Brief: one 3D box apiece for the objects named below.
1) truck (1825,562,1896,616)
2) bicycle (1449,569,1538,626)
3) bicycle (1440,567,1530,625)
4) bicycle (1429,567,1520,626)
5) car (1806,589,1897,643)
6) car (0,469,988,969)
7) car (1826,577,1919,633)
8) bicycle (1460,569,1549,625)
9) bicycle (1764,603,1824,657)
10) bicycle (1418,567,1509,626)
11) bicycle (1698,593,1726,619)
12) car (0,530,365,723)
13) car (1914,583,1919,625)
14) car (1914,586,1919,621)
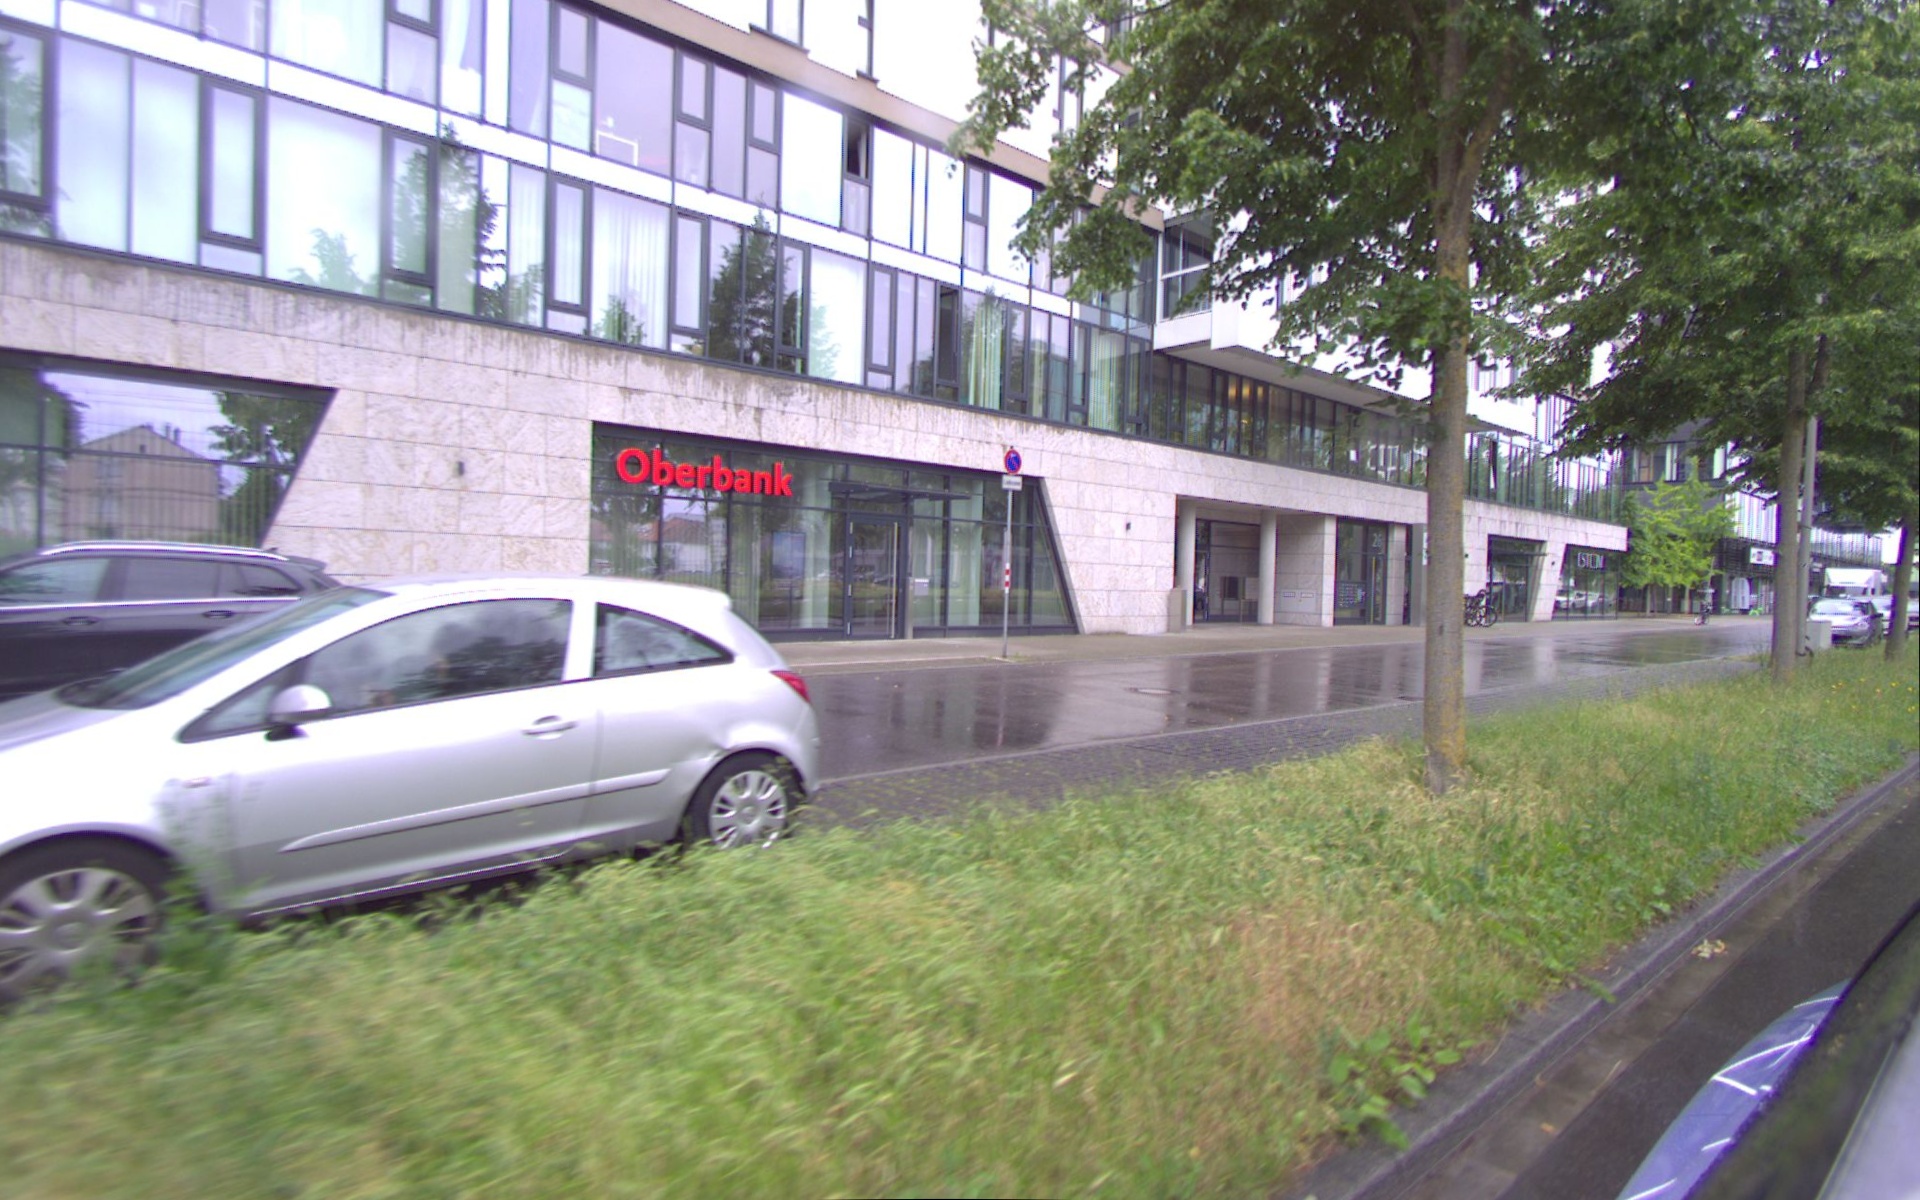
[{"bbox_3d":[62.485,-0.747,70.152,8.406,3.484,3.027,0,1,-44],"label":"truck"},{"bbox_3d":[18.479,-0.117,35.135,0.694,1.884,2.689,1,1,-35],"label":"bicycle"},{"bbox_3d":[17.914,-0.163,34.609,0.694,1.884,2.689,1,1,-35],"label":"bicycle"},{"bbox_3d":[17.305,-0.154,34.124,0.694,1.884,2.689,1,1,-35],"label":"bicycle"},{"bbox_3d":[27.033,0.495,30.657,3.592,1.509,1.628,2,0,-42],"label":"car"},{"bbox_3d":[-2.196,0.409,5.042,4.642,1.525,1.884,3,-1,-43],"label":"car"},{"bbox_3d":[31.395,0.200,34.631,4.640,1.690,1.997,3,-1,-41],"label":"car"},{"bbox_3d":[19.087,-0.137,35.579,0.694,1.884,2.689,1,1,-35],"label":"bicycle"},{"bbox_3d":[13.866,0.511,16.814,1.867,0.833,0.343,3,-1,-38],"label":"bicycle"},{"bbox_3d":[16.717,-0.149,33.686,0.694,1.884,2.689,1,1,-35],"label":"bicycle"},{"bbox_3d":[34.617,0.262,46.571,2.027,1.144,0.519,0,1,-39],"label":"bicycle"},{"bbox_3d":[-8.290,0.165,8.926,4.945,1.519,1.998,2,3,-41],"label":"car"},{"bbox_3d":[48.876,0.295,49.960,4.939,1.977,1.998,3,-1,-40],"label":"car"},{"bbox_3d":[44.227,0.185,45.419,1.956,1.531,4.413,2,2,43],"label":"car"}]
